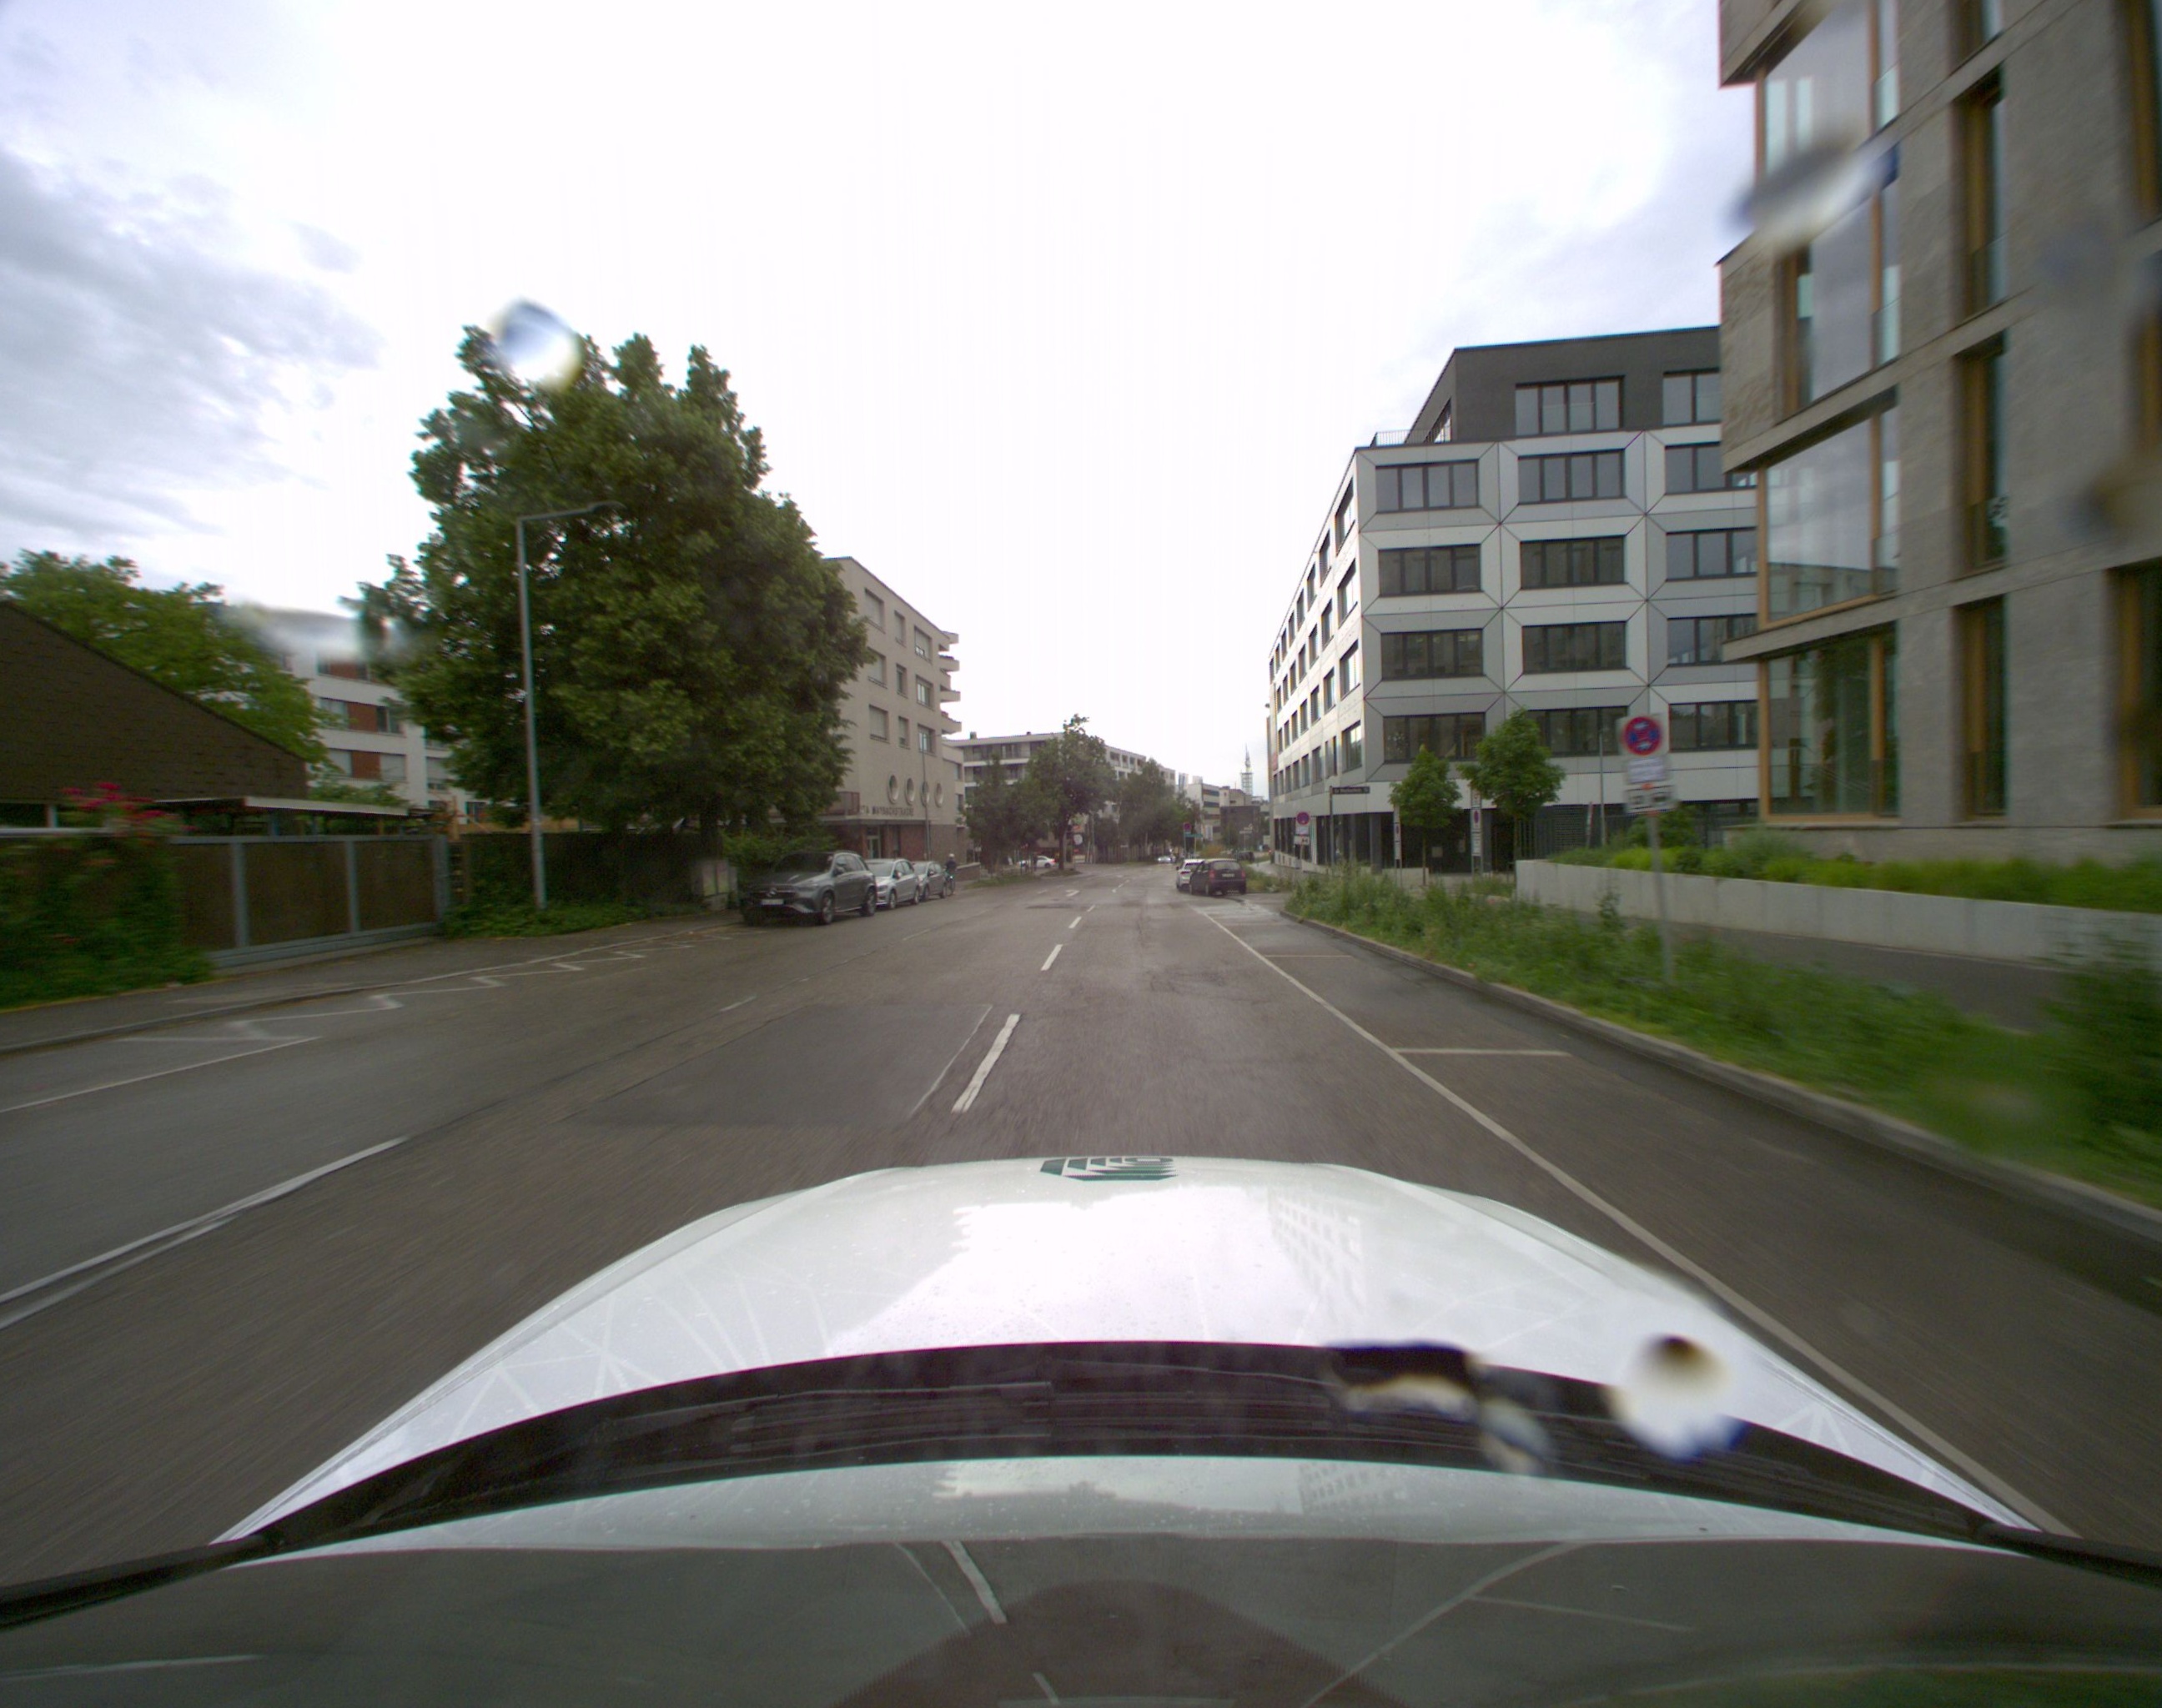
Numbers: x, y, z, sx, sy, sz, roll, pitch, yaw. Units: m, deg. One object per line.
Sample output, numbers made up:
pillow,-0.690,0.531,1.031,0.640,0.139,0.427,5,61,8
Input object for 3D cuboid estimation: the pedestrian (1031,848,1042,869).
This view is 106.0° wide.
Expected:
pedestrian,-4.384,0.466,80.945,1.052,2.014,1.098,0,-1,-3

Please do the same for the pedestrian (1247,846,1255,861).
pedestrian,19.760,-0.067,94.833,0.817,1.796,1.212,-2,-1,12

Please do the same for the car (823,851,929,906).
car,-6.514,0.745,26.434,1.980,1.593,4.495,-1,0,5

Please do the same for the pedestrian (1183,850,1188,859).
pedestrian,20.461,0.045,159.450,0.703,1.683,0.960,-1,0,14

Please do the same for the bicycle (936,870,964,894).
bicycle,-5.526,1.163,34.477,0.799,0.979,2.254,0,-1,0

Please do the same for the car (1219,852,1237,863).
car,20.455,0.518,113.234,1.793,1.484,4.516,-1,-1,18

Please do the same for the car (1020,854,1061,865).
car,-4.841,0.638,96.955,4.685,1.292,1.994,0,-1,-8

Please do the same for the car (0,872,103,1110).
car,-7.827,0.850,3.526,1.984,1.470,4.190,-1,0,4

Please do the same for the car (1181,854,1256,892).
car,5.681,0.744,34.144,2.042,1.458,4.046,0,0,-7

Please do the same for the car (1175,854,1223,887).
car,5.583,0.739,39.008,2.030,1.464,4.509,0,0,5

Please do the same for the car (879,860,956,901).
car,-6.160,0.975,31.114,1.870,1.463,3.853,-1,0,5

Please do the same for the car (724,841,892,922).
car,-6.647,0.631,20.636,1.984,1.786,5.418,-1,0,5

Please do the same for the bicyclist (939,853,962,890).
bicyclist,-5.527,0.735,34.558,0.798,1.523,1.201,0,-1,-1

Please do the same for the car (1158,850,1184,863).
car,12.774,0.337,115.338,2.038,1.661,4.850,-1,0,27
